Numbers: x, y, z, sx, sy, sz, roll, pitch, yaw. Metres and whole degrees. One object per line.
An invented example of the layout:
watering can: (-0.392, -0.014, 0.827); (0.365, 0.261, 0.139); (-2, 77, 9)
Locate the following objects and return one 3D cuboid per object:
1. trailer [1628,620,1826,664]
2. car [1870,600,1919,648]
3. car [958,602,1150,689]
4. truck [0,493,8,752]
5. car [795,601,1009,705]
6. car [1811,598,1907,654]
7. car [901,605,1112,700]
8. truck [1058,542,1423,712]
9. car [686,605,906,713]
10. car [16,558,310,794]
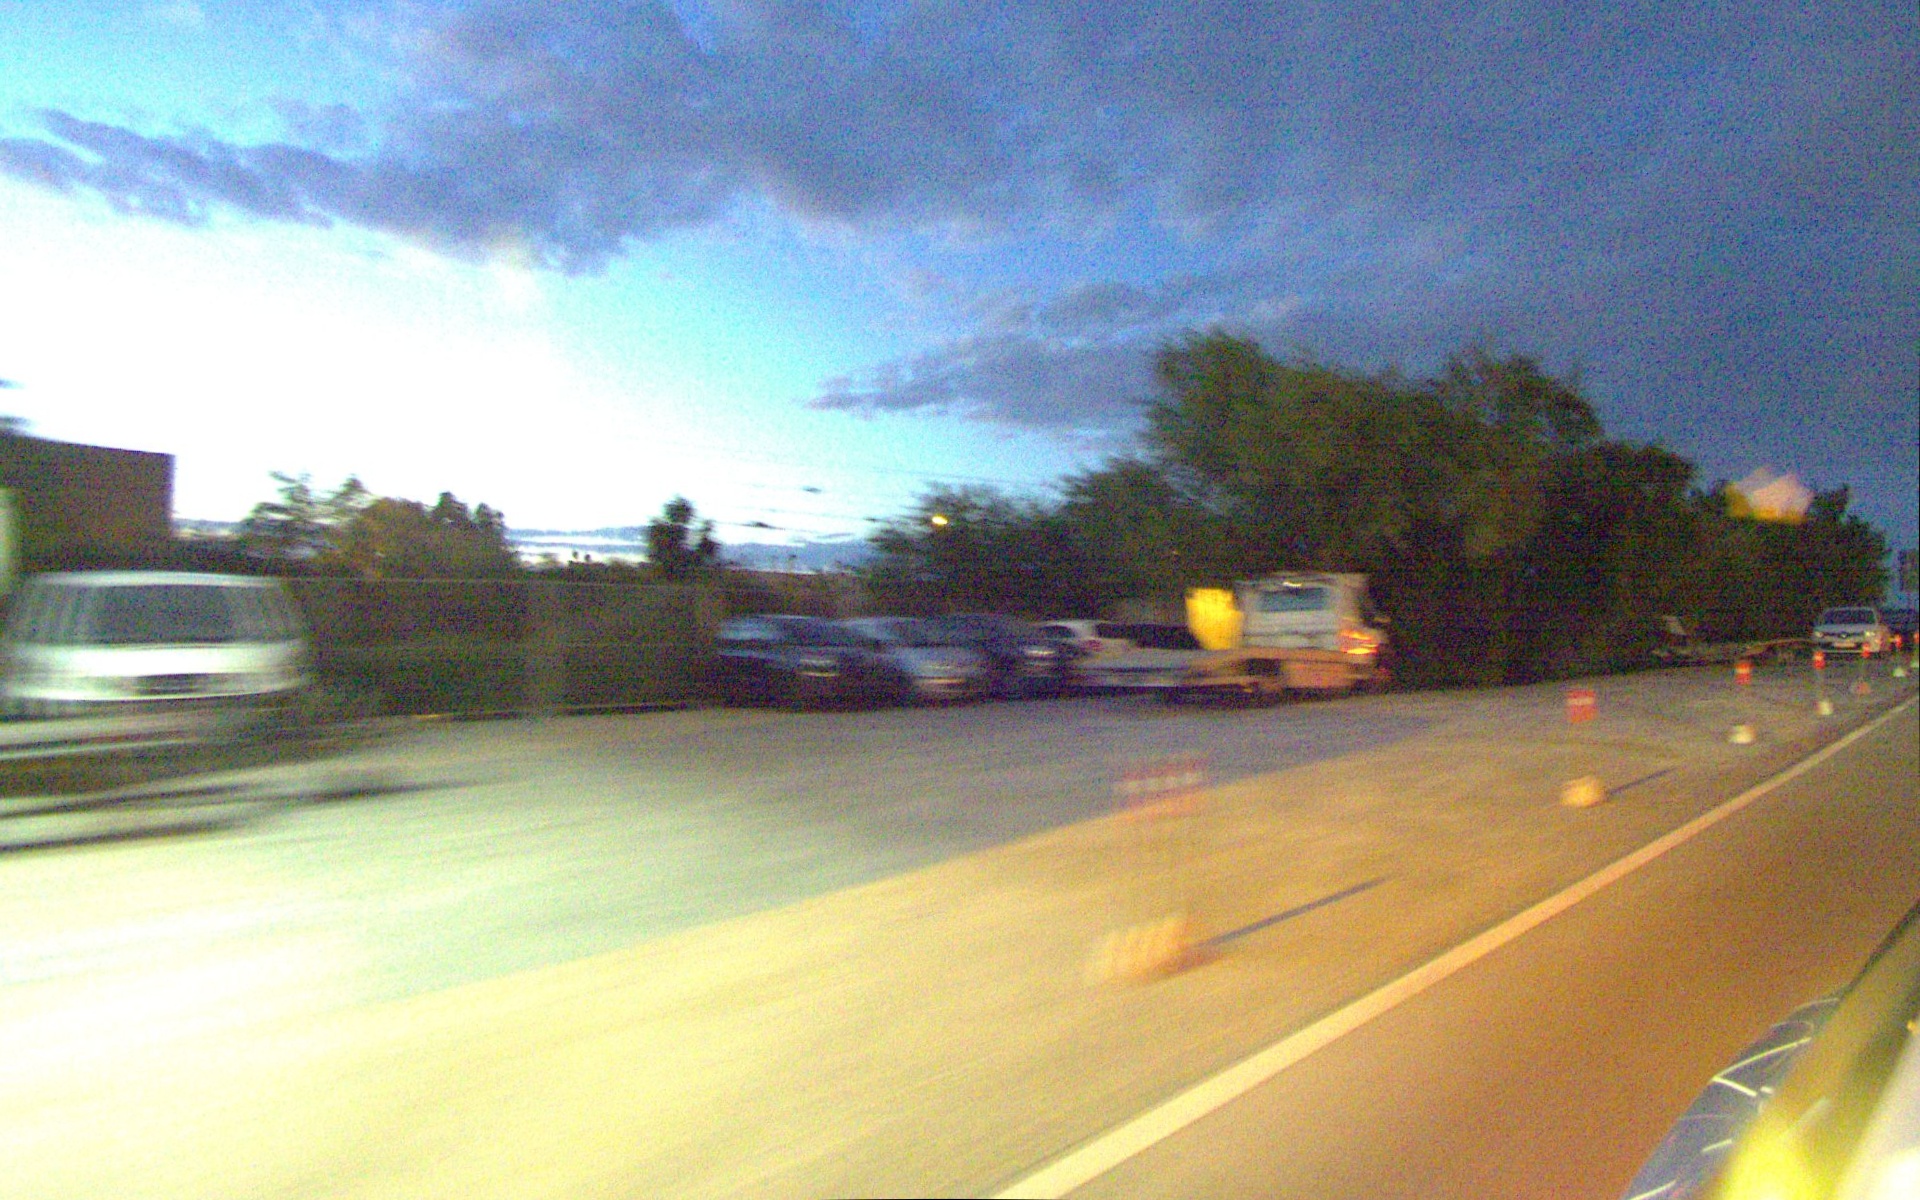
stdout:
trailer: (20.508, 1.054, 26.770); (9.445, 0.979, 2.177); (1, -3, -40)
car: (32.930, 0.838, 35.005); (1.993, 1.572, 4.257); (-2, -3, 44)
car: (1.873, 0.887, 21.047); (1.680, 1.625, 3.859); (0, -1, -43)
truck: (-9.926, 0.248, 8.649); (2.430, 2.633, 5.536); (0, -1, -42)
car: (-1.109, 0.848, 17.716); (1.680, 1.616, 3.859); (0, -1, -43)
car: (27.307, 0.781, 30.704); (1.935, 1.572, 3.935); (-2, -2, 45)
car: (0.780, 0.910, 19.068); (1.868, 1.581, 3.863); (0, -1, -40)
truck: (5.102, 0.394, 17.299); (7.613, 2.313, 2.379); (0, -1, -43)
car: (-2.758, 0.875, 16.421); (1.680, 1.535, 3.859); (0, -1, -43)
car: (-8.255, 0.634, 10.597); (1.953, 1.860, 5.084); (0, -1, -38)
